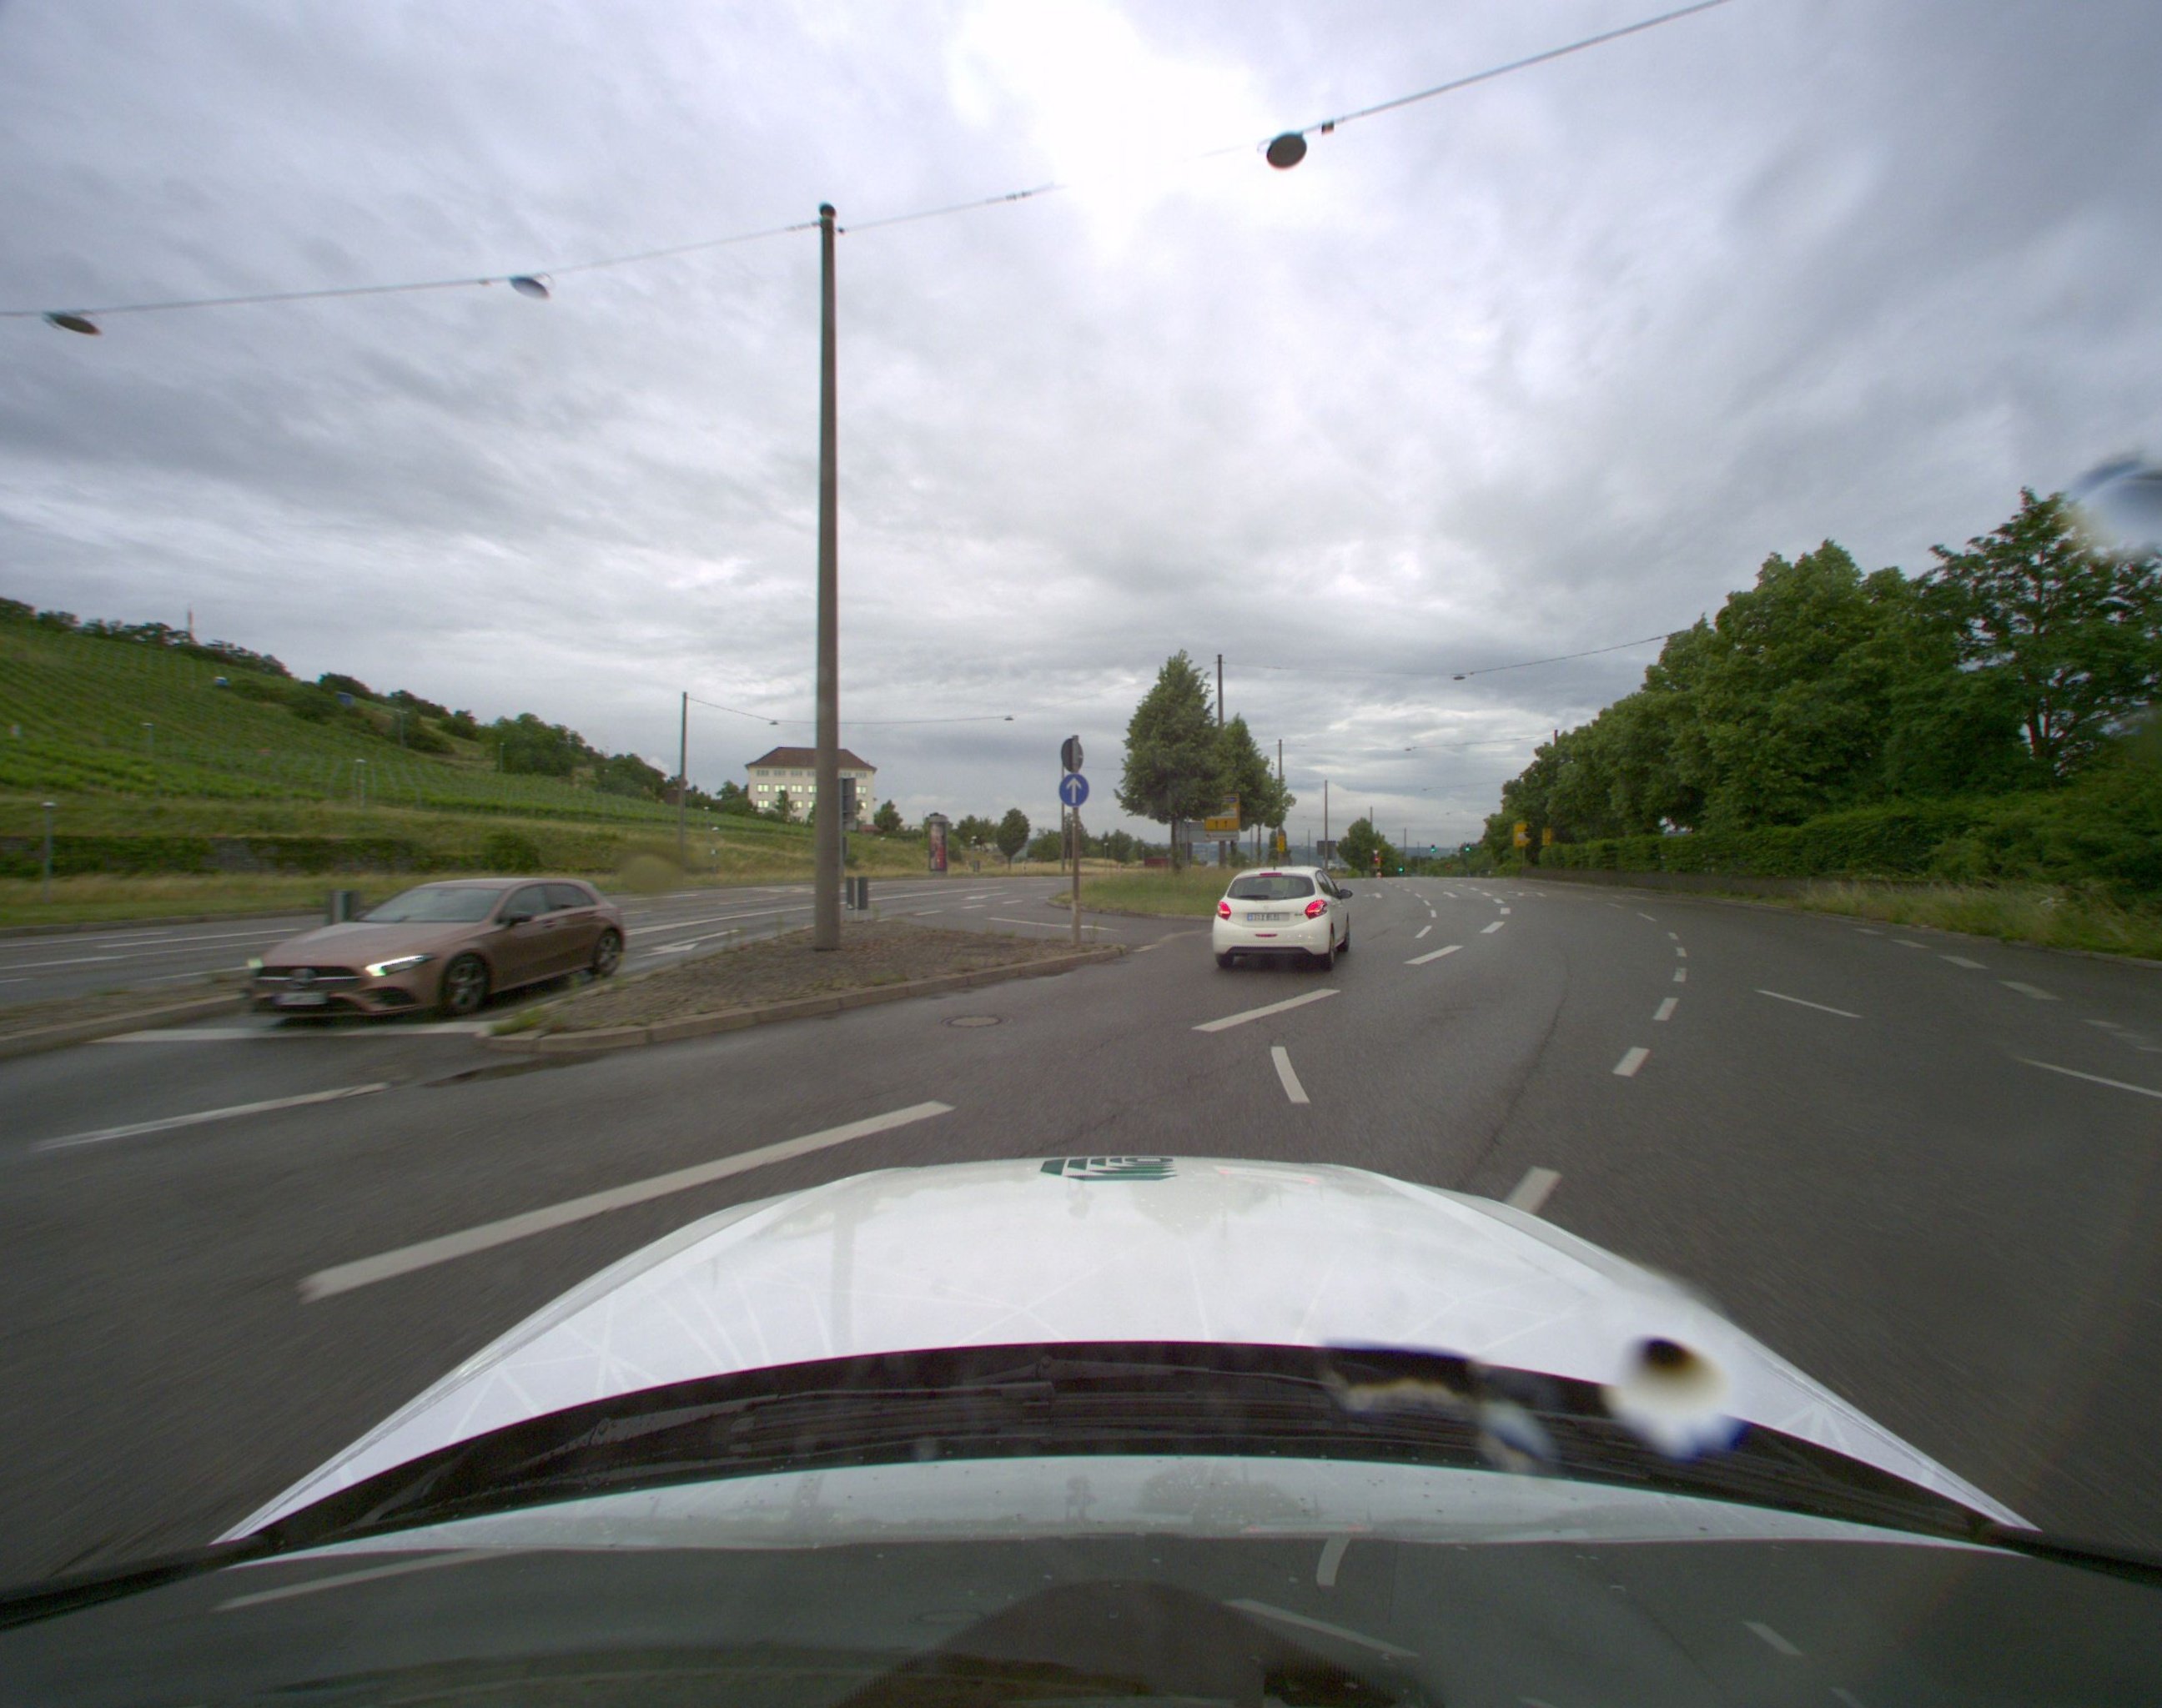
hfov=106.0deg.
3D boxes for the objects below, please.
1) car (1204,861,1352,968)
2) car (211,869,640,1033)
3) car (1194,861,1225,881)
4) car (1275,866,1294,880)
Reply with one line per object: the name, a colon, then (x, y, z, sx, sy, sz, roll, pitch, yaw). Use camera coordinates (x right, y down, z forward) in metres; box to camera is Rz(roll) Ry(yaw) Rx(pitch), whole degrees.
car: (3.264, 0.869, 12.980, 1.693, 1.440, 3.710, -2, -2, 22)
car: (-7.369, 0.956, 9.876, 1.728, 1.462, 4.339, 0, 0, -1)
car: (11.149, 1.429, 70.405, 1.862, 1.654, 4.379, -1, -1, 20)
car: (25.381, 2.351, 101.321, 1.752, 1.750, 4.021, -1, -1, 22)
